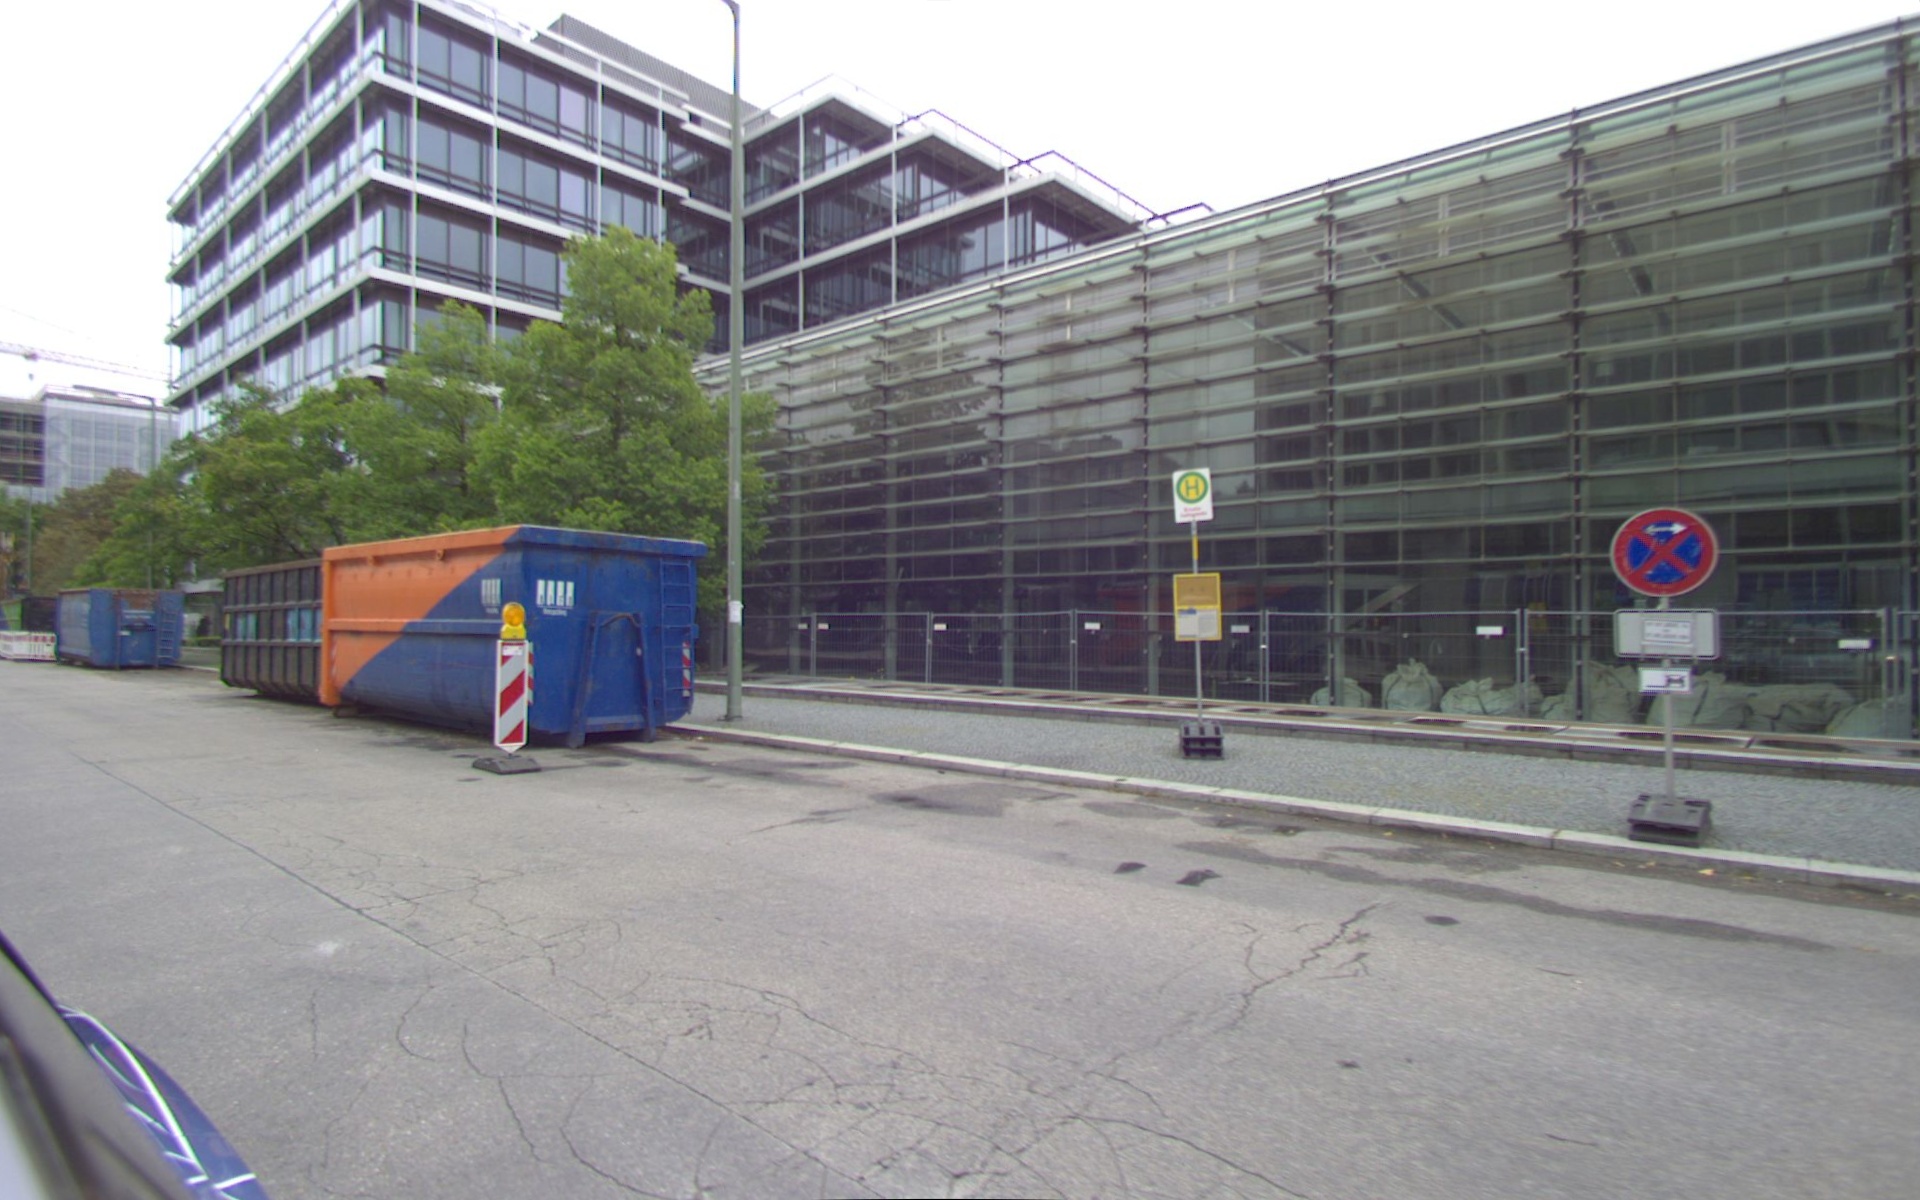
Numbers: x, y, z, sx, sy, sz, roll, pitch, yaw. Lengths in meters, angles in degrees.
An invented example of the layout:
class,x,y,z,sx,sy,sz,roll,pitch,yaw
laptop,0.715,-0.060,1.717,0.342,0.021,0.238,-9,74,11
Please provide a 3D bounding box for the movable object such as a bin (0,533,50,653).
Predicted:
class,x,y,z,sx,sy,sz,roll,pitch,yaw
movable object such as a bin,-53.754,-0.300,56.887,8.338,6.370,3.198,-2,-2,44
